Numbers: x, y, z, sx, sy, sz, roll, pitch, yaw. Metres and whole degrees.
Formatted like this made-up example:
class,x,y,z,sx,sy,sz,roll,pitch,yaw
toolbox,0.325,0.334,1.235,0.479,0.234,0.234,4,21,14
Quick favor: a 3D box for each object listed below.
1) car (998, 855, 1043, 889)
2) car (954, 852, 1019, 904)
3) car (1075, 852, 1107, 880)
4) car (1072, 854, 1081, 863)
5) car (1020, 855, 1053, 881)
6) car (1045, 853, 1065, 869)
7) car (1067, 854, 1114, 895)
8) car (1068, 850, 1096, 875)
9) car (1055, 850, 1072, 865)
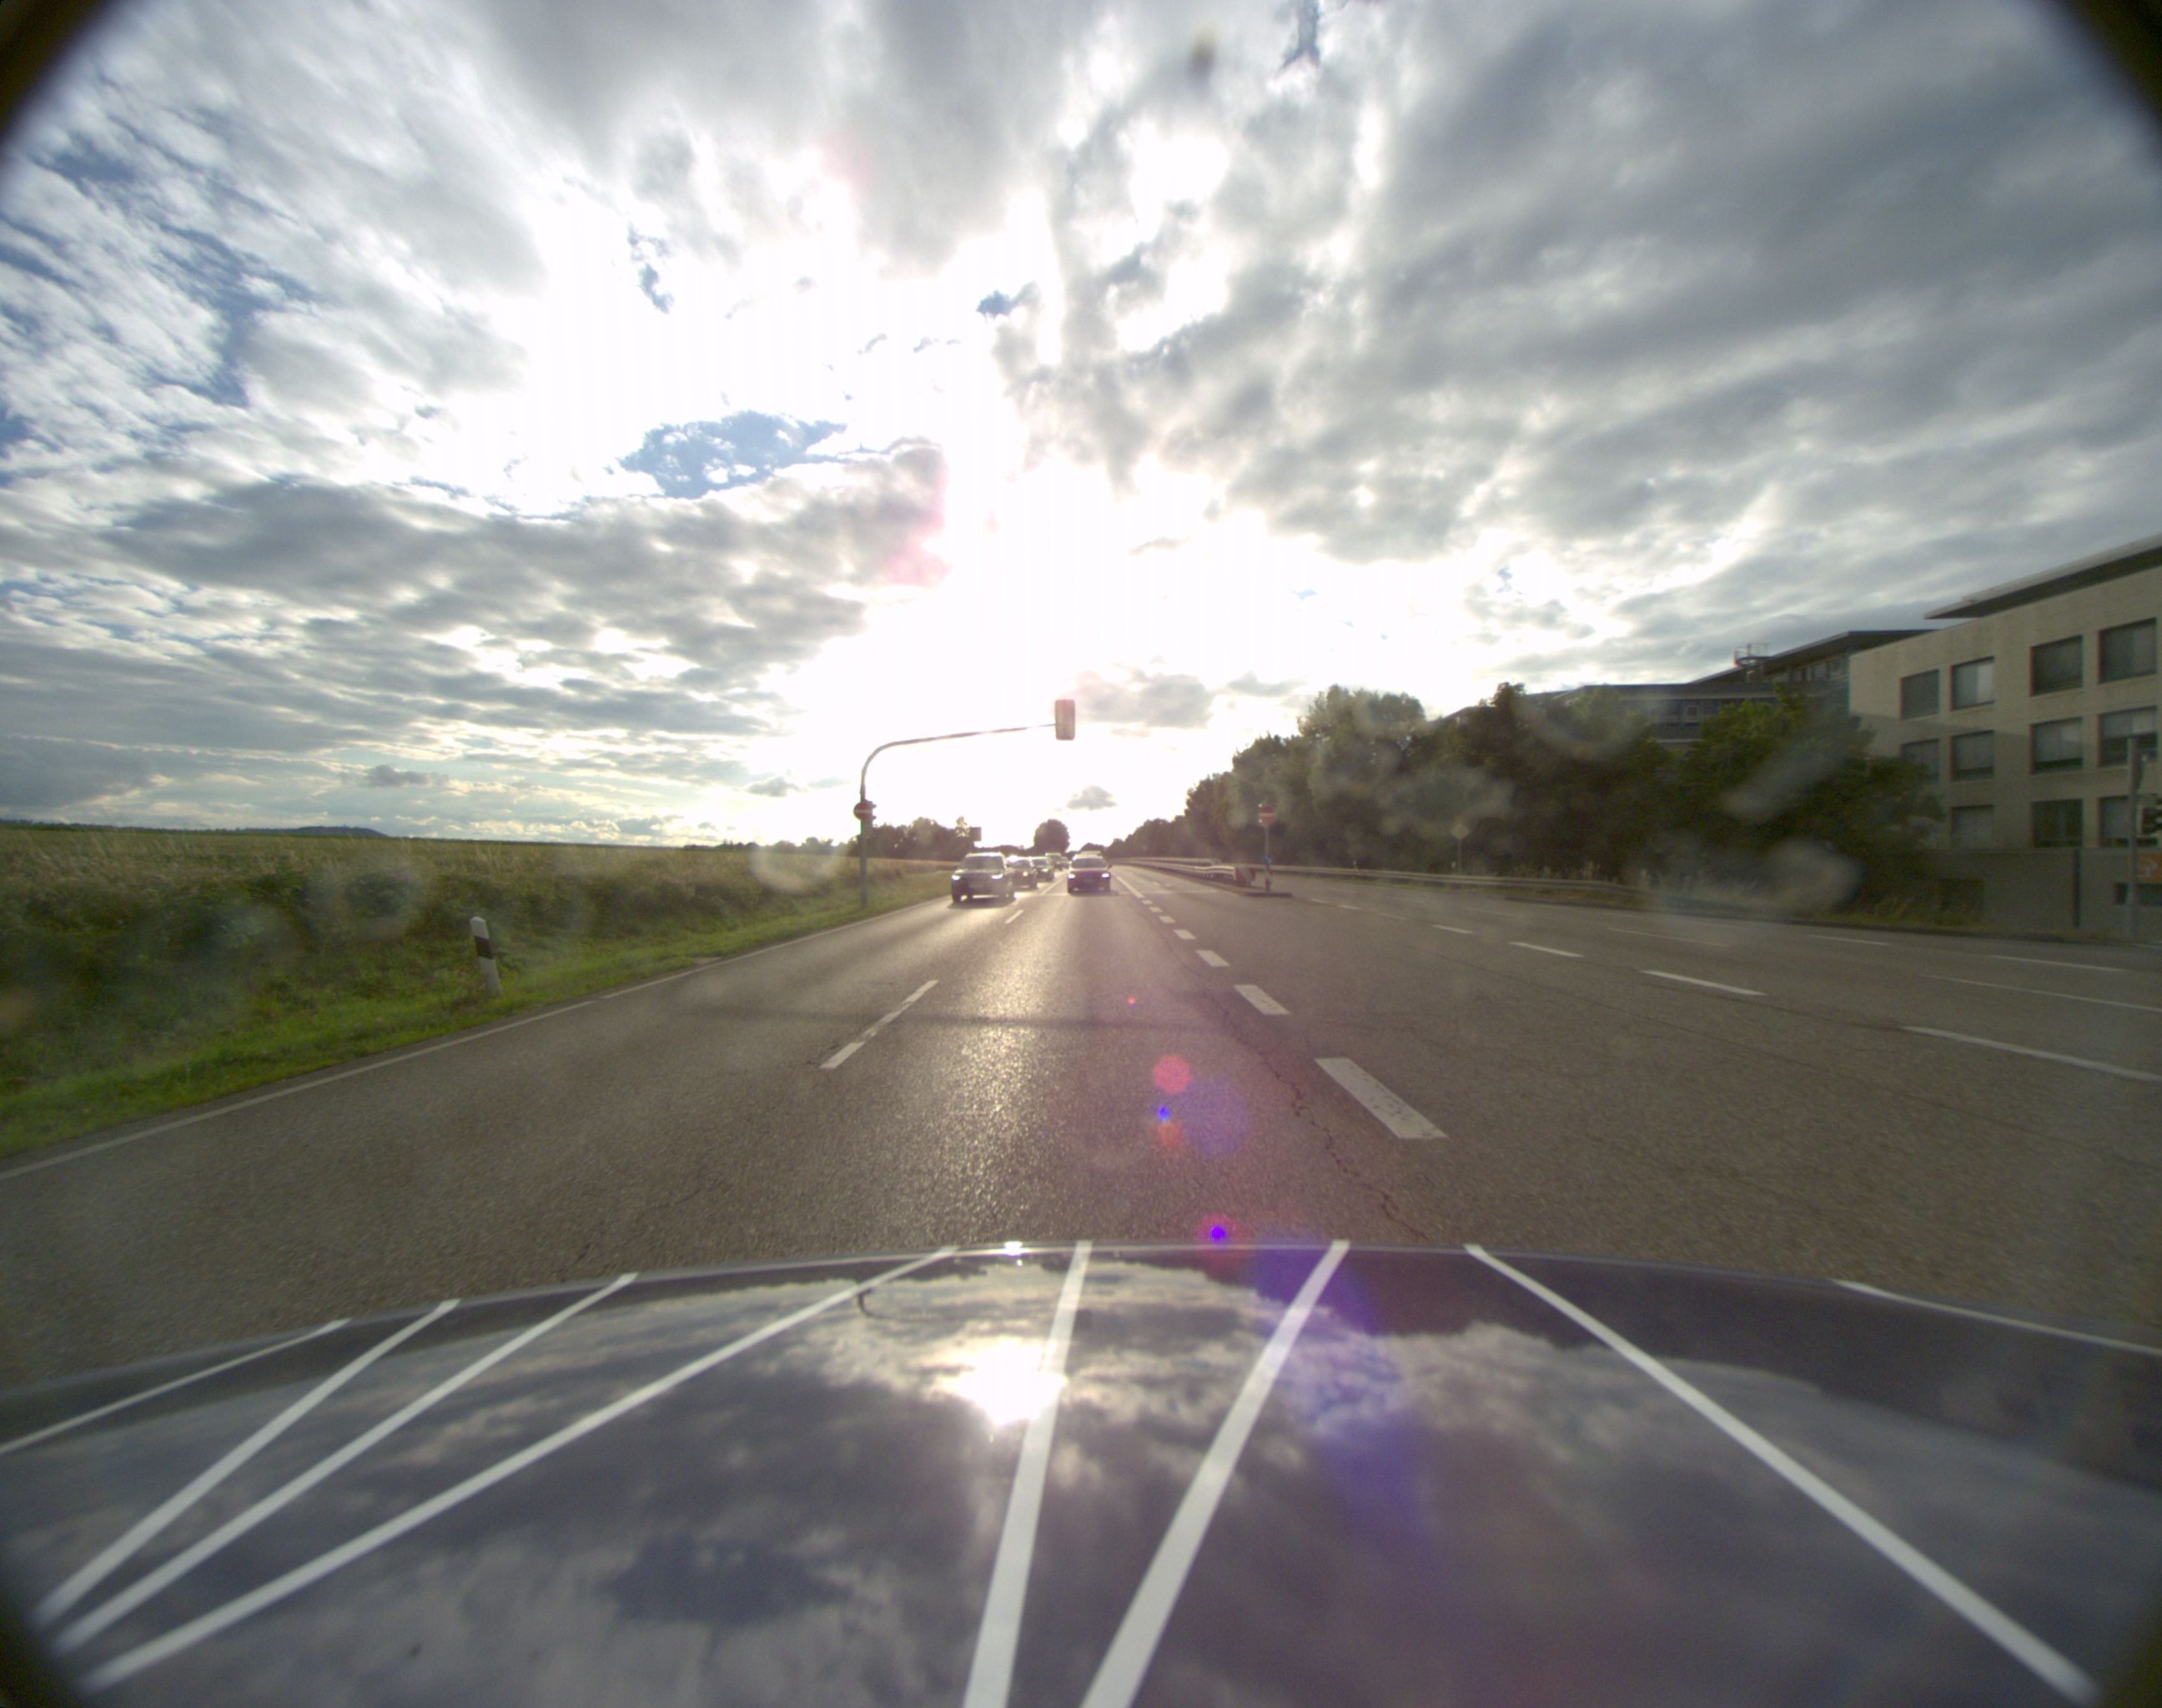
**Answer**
class,x,y,z,sx,sy,sz,roll,pitch,yaw
car,-2.816,0.830,36.033,1.668,1.467,3.866,-2,0,2
car,-3.328,0.806,27.464,1.723,1.658,4.419,-2,0,0
car,0.582,0.643,44.287,1.758,1.543,4.000,0,0,0
car,-1.014,1.045,172.500,1.999,2.002,3.999,-2,1,-1
car,-2.742,0.854,47.359,1.723,1.467,3.865,-2,0,0
car,-2.834,0.705,83.117,1.949,1.652,4.000,-1,0,0
car,0.419,0.778,30.280,1.723,1.467,3.728,-2,0,2
car,0.114,0.580,53.709,1.786,1.624,3.866,-2,0,2
car,-2.269,0.429,99.646,1.998,1.740,4.000,3,1,1
